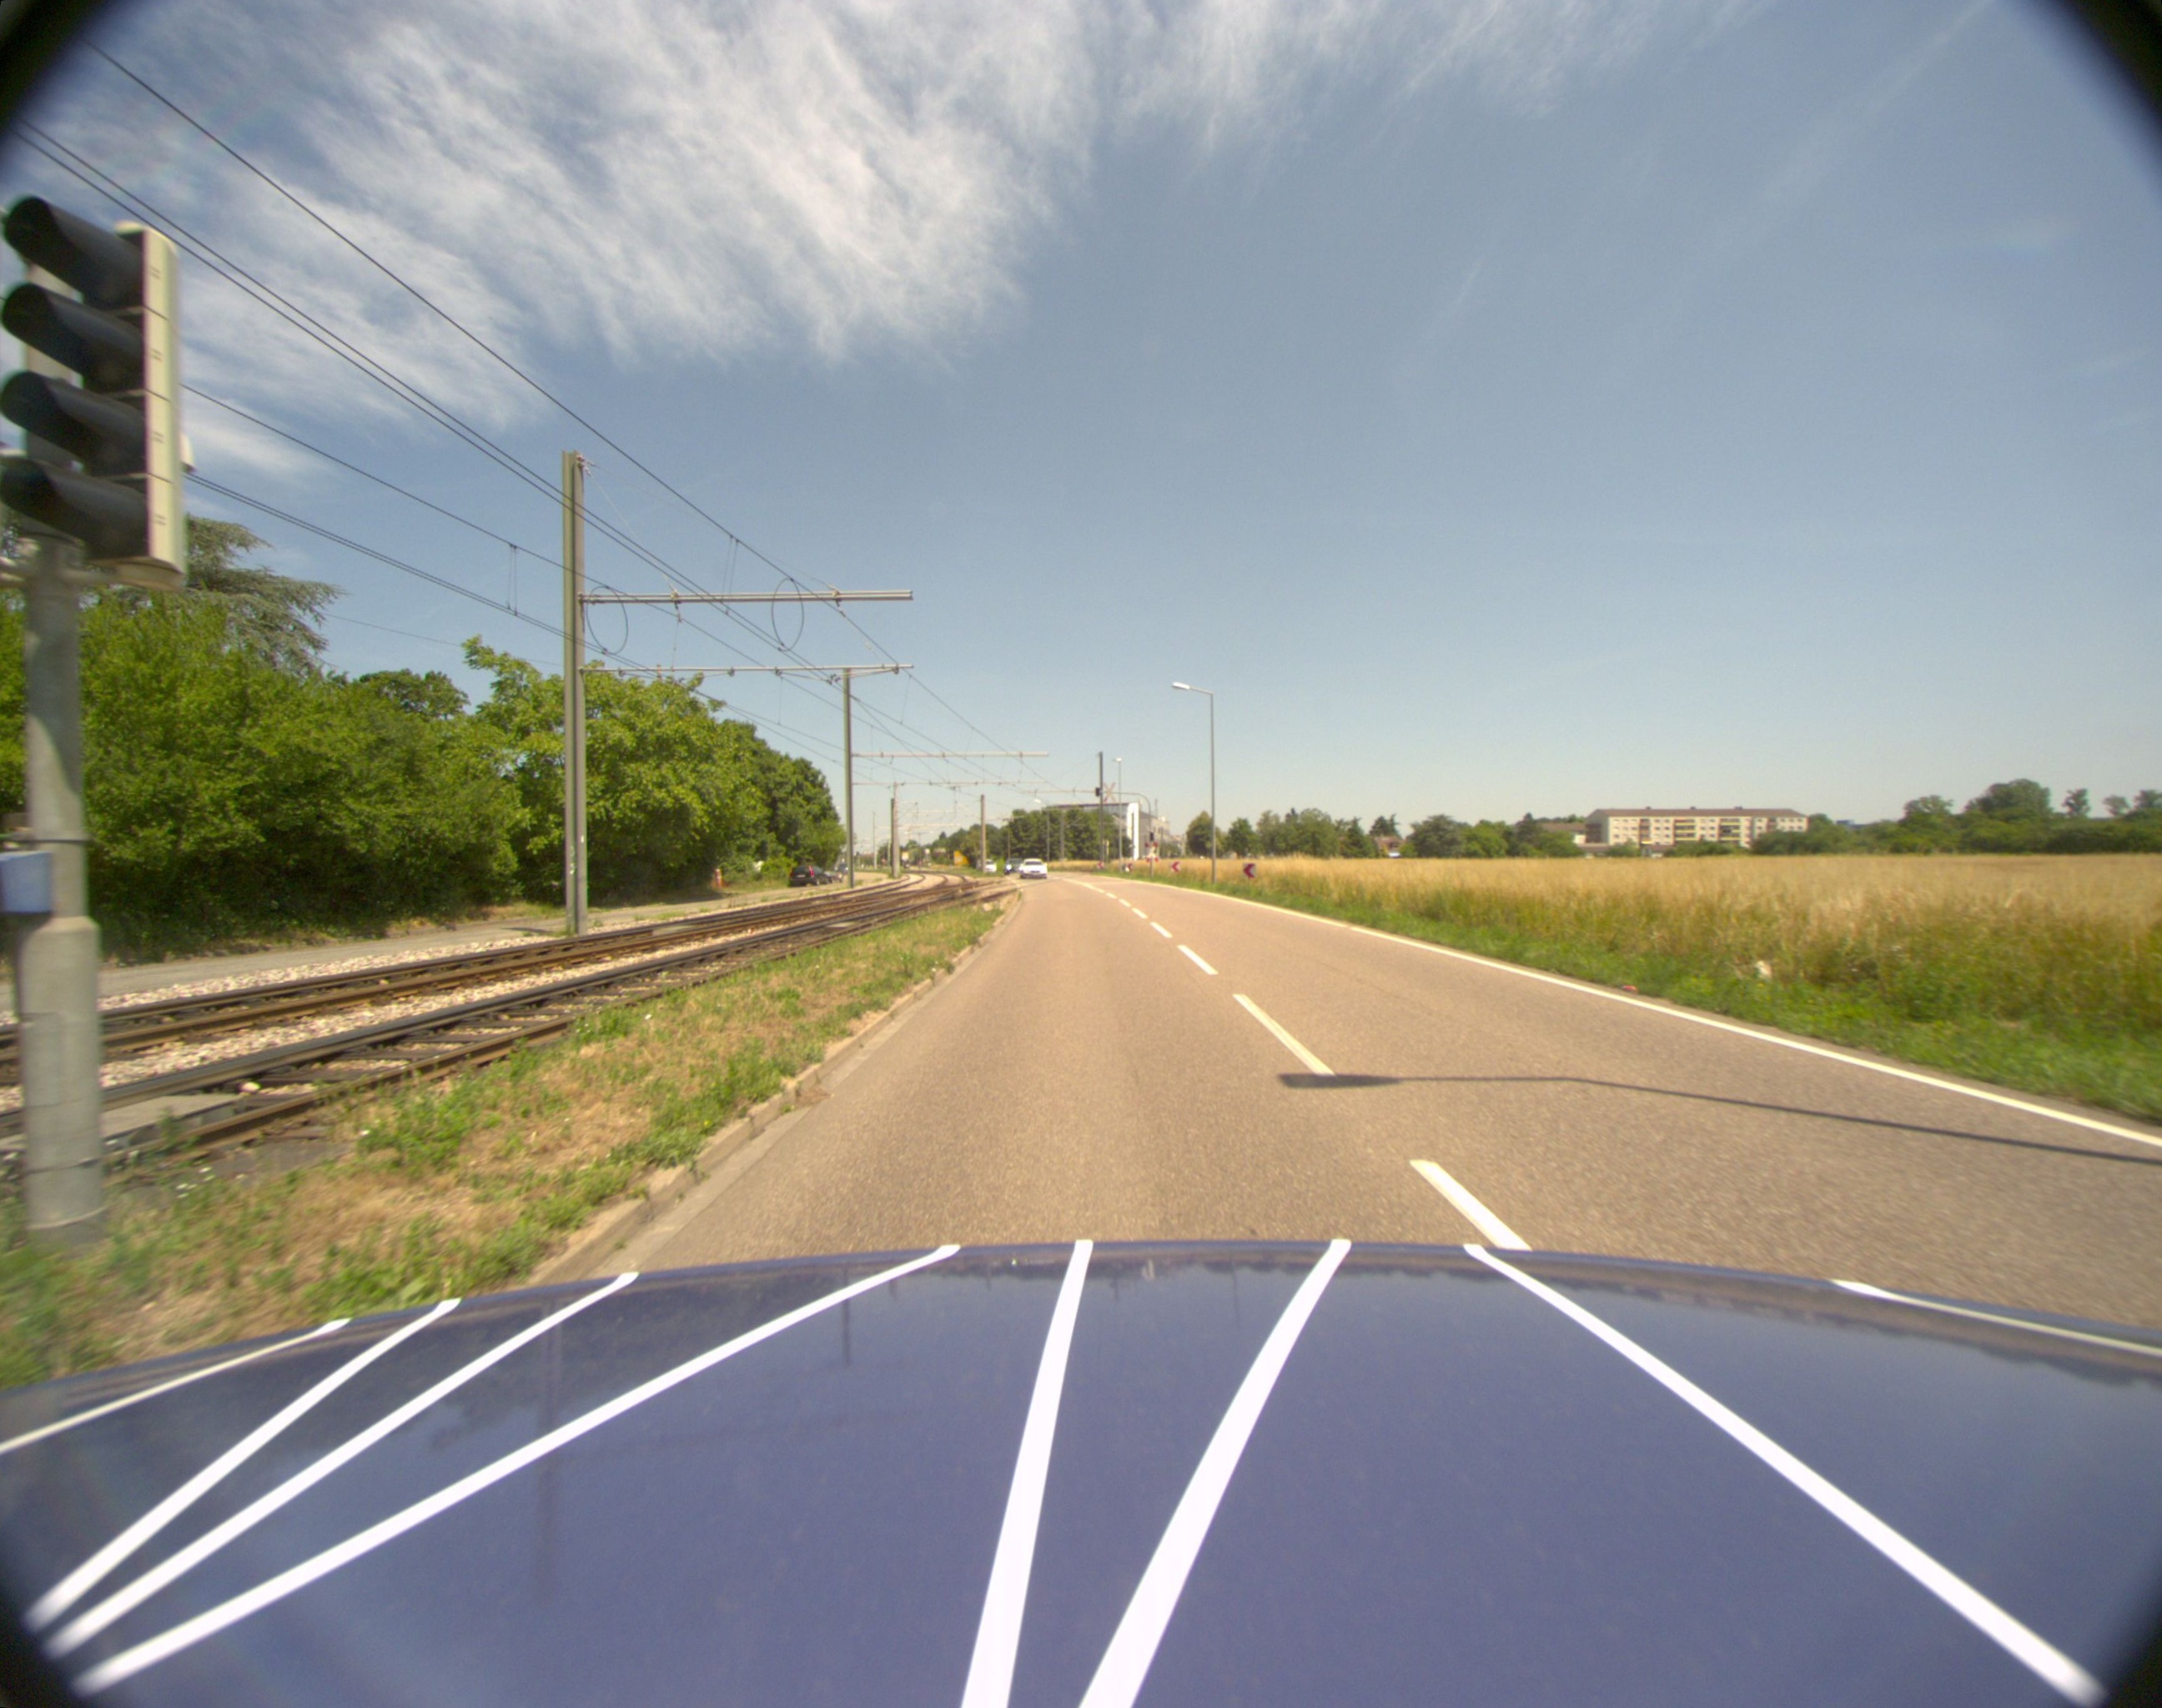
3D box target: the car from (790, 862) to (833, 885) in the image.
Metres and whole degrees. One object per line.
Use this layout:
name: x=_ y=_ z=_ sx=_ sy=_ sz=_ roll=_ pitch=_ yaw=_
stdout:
car: x=-18.917 y=1.331 z=53.501 sx=1.802 sy=1.418 sz=4.736 roll=-1 pitch=1 yaw=-6

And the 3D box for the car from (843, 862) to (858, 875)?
car: x=-31.533 y=1.928 z=103.923 sx=1.835 sy=1.647 sz=4.807 roll=-1 pitch=1 yaw=-19

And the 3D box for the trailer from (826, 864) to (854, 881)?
trailer: x=-20.233 y=1.549 z=63.852 sx=1.466 sy=1.215 sz=3.997 roll=-1 pitch=1 yaw=-6

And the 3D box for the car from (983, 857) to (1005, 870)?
car: x=-10.907 y=1.178 z=95.138 sx=1.813 sy=1.465 sz=3.505 roll=-1 pitch=1 yaw=-23

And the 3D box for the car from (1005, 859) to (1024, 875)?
car: x=-6.201 y=1.176 z=70.479 sx=1.511 sy=1.423 sz=3.355 roll=-1 pitch=1 yaw=-9

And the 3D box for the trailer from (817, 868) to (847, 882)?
trailer: x=-19.571 y=1.615 z=59.875 sx=1.423 sy=0.989 sz=3.998 roll=-3 pitch=0 yaw=-7

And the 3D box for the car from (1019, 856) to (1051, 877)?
car: x=-3.435 y=0.919 z=56.488 sx=1.773 sy=1.434 sz=4.124 roll=-1 pitch=1 yaw=-12

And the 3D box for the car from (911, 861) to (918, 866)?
car: x=-54.316 y=2.967 z=247.262 sx=1.834 sy=1.592 sz=4.477 roll=-1 pitch=-1 yaw=-18
